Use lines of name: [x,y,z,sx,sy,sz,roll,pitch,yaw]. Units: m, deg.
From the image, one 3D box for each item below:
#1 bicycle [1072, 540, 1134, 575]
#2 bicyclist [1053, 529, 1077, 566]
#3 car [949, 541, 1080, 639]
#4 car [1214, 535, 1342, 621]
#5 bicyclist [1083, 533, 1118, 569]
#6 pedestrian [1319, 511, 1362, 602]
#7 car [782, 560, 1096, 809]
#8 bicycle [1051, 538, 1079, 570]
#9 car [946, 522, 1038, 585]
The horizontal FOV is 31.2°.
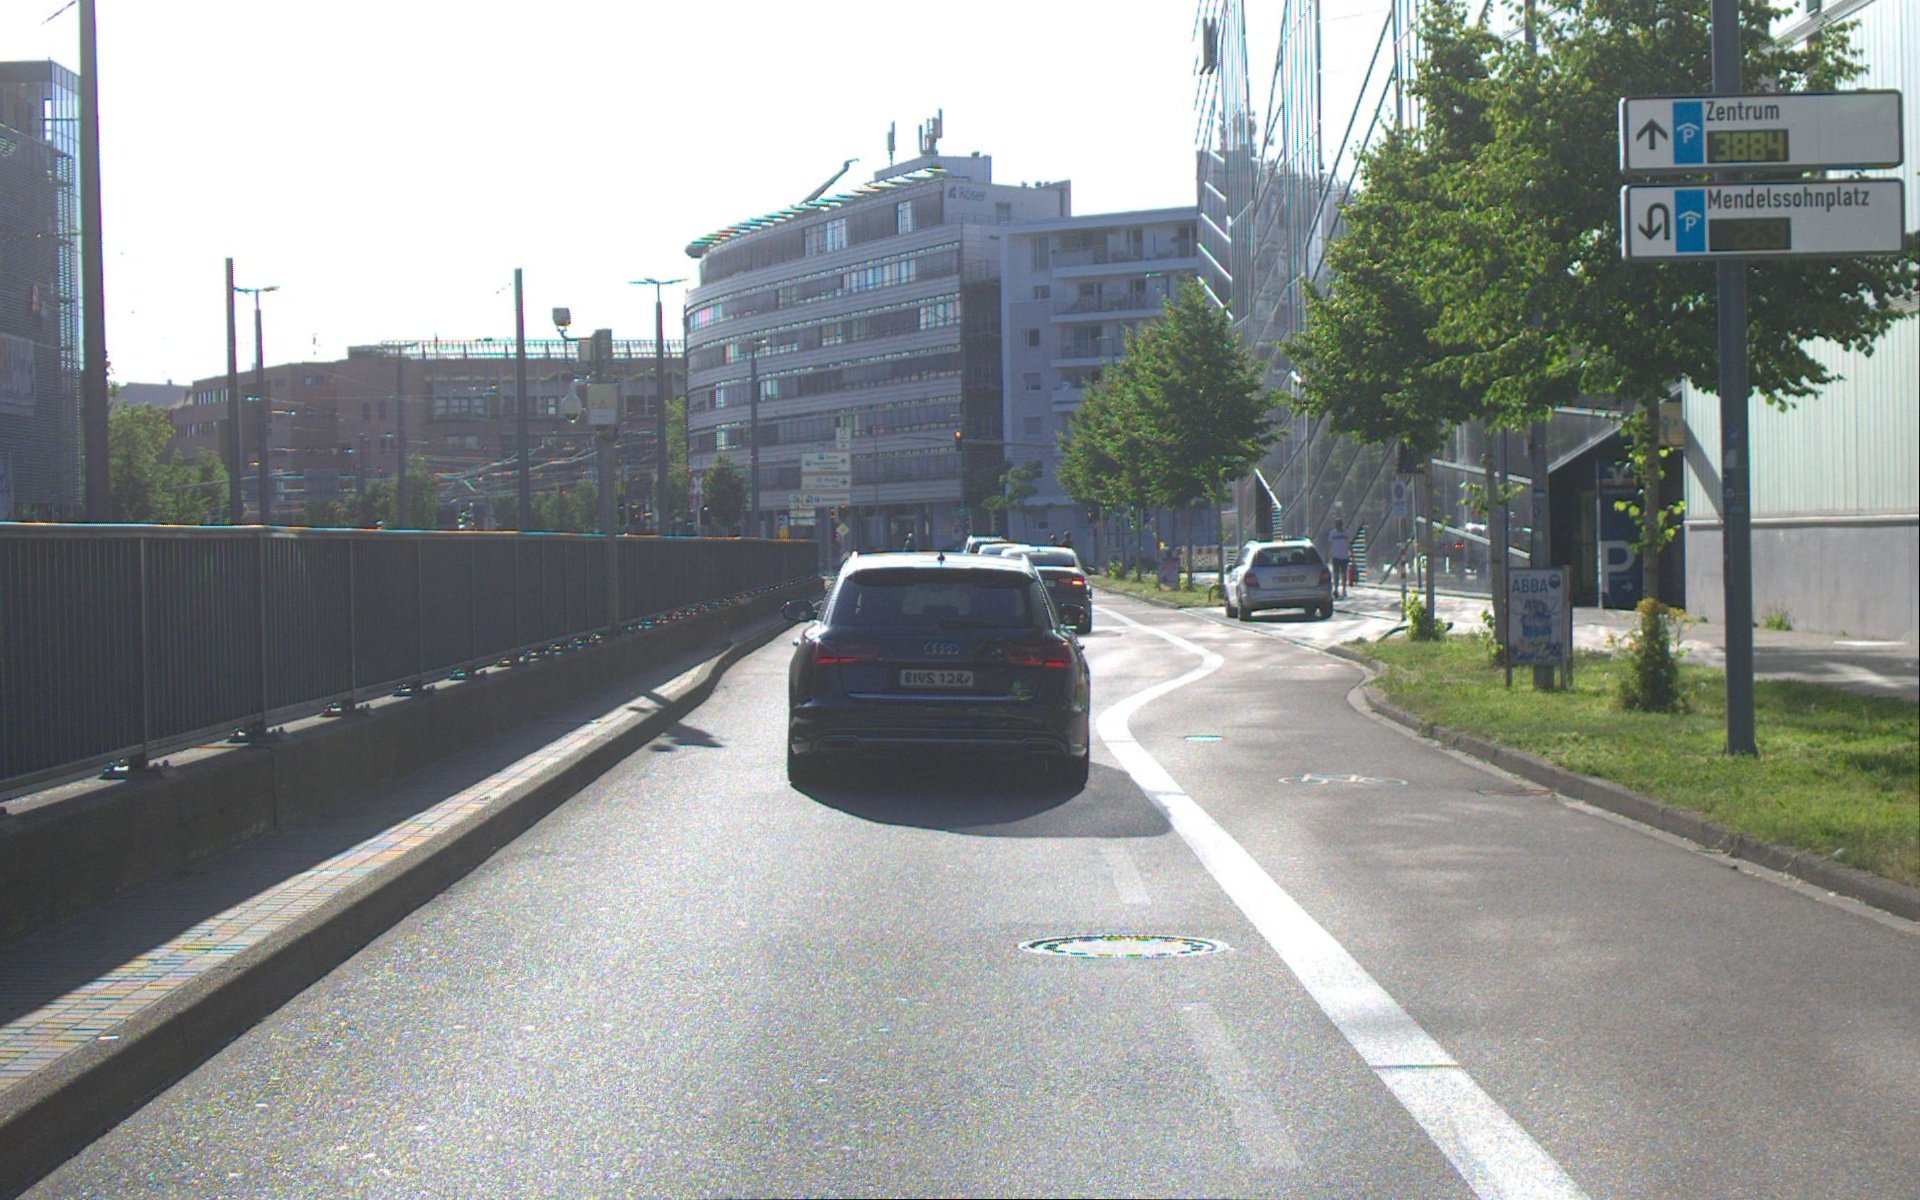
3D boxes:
bicycle: [5.159,-1.519,124.101,2.089,1.180,0.726,-2,1,23]
bicyclist: [4.042,-2.014,132.120,0.724,1.413,0.892,-2,1,-7]
car: [0.870,-0.193,57.449,1.852,1.541,4.001,0,1,-4]
car: [6.031,-0.448,65.750,1.852,1.476,4.854,-3,1,-1]
bicyclist: [5.074,-1.779,124.098,1.033,1.264,0.726,-2,1,23]
pedestrian: [8.475,-0.972,76.595,0.836,2.007,0.689,-2,1,1]
car: [-0.166,0.467,22.500,1.812,1.422,4.690,-1,1,-1]
bicycle: [4.037,-1.780,132.103,0.724,1.180,2.094,-2,1,-7]
car: [0.751,-1.144,83.259,1.993,1.460,4.001,0,2,-3]
